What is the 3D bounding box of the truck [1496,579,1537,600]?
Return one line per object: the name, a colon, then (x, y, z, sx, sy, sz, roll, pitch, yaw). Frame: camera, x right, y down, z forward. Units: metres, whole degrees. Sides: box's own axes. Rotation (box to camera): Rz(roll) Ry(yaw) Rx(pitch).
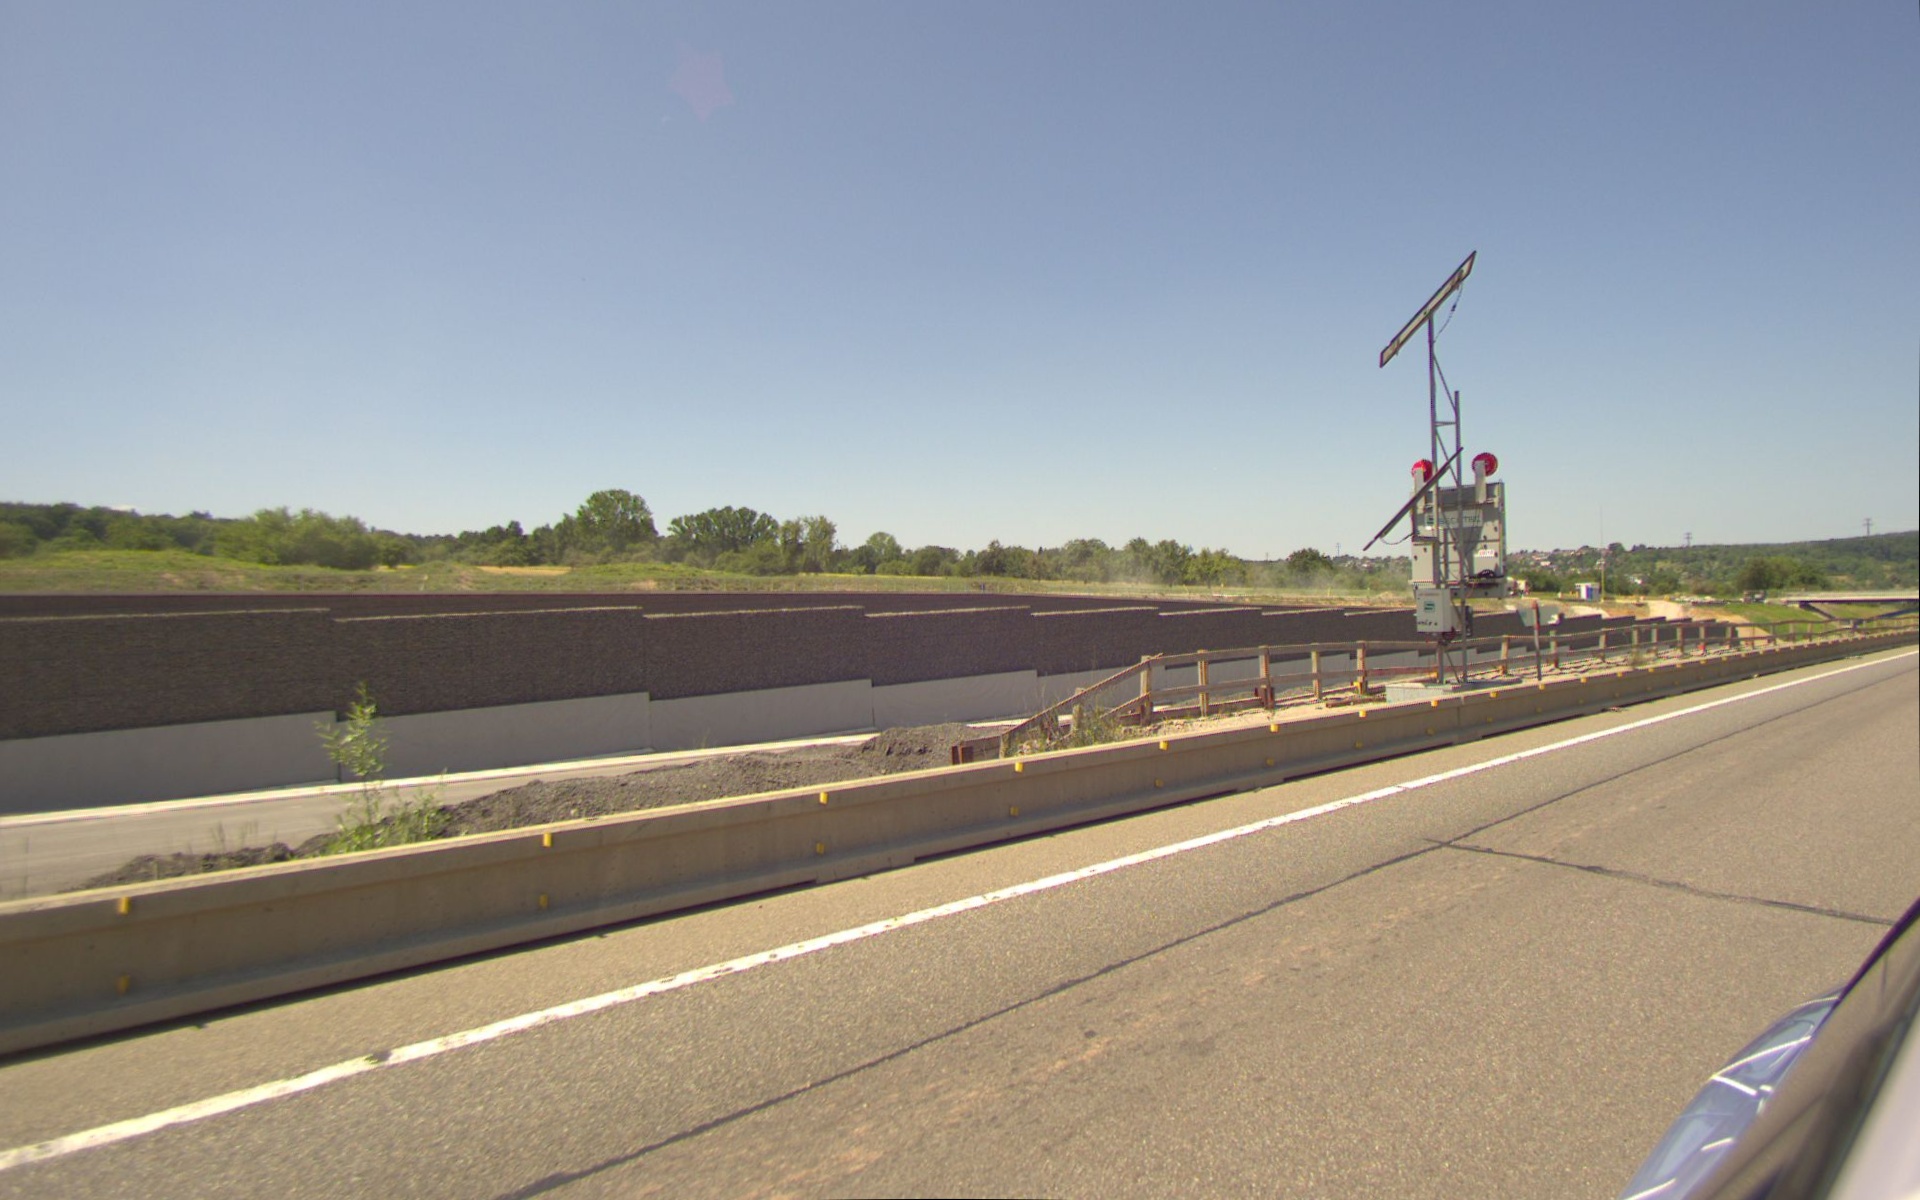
truck: (98.561, -1.807, 179.027, 8.595, 3.510, 3.155, 0, -1, -38)
